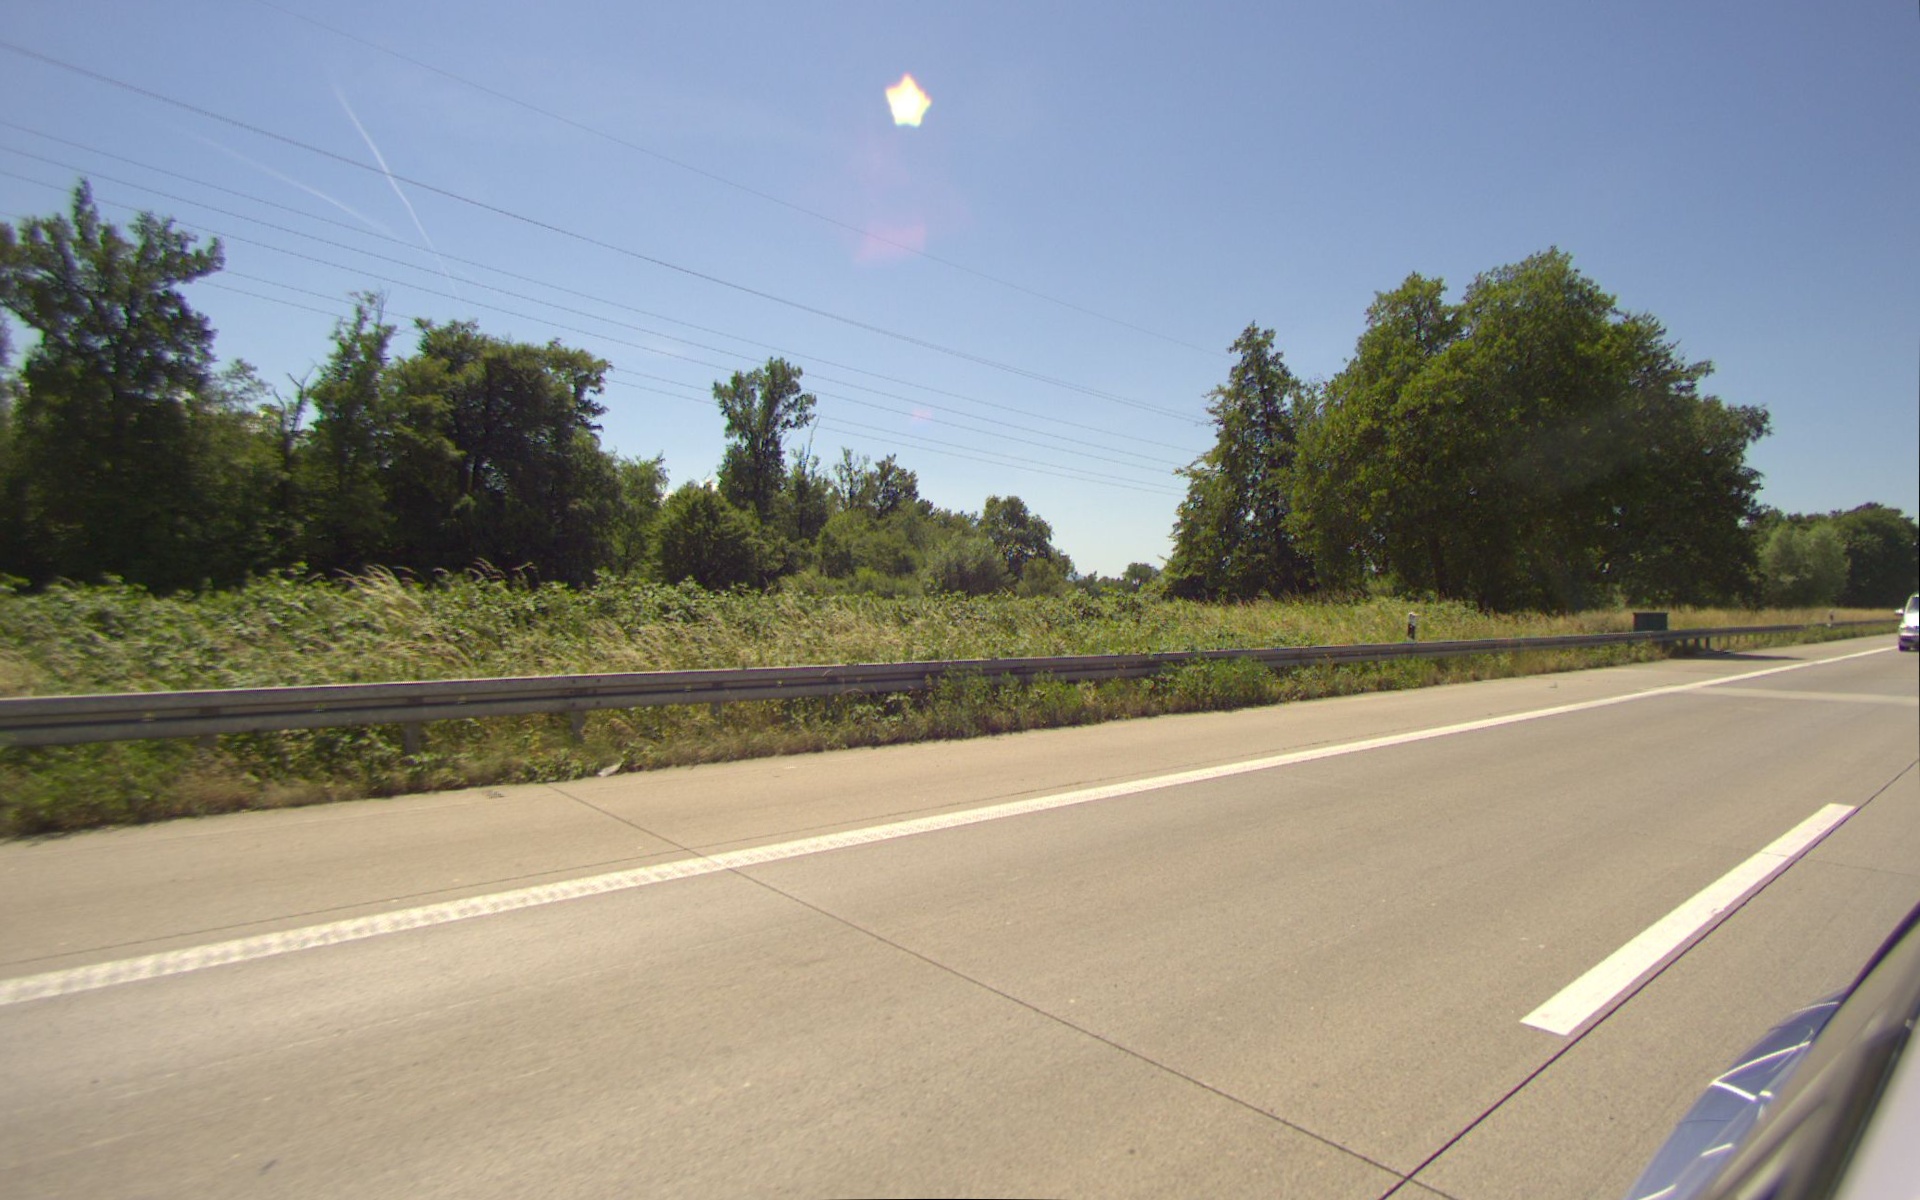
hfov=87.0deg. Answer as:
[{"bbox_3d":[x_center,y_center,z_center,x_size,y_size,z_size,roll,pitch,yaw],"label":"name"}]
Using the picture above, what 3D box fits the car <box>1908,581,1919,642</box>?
[{"bbox_3d":[32.389,0.389,32.806,5.186,1.913,1.882,1,-2,-41],"label":"car"}]
